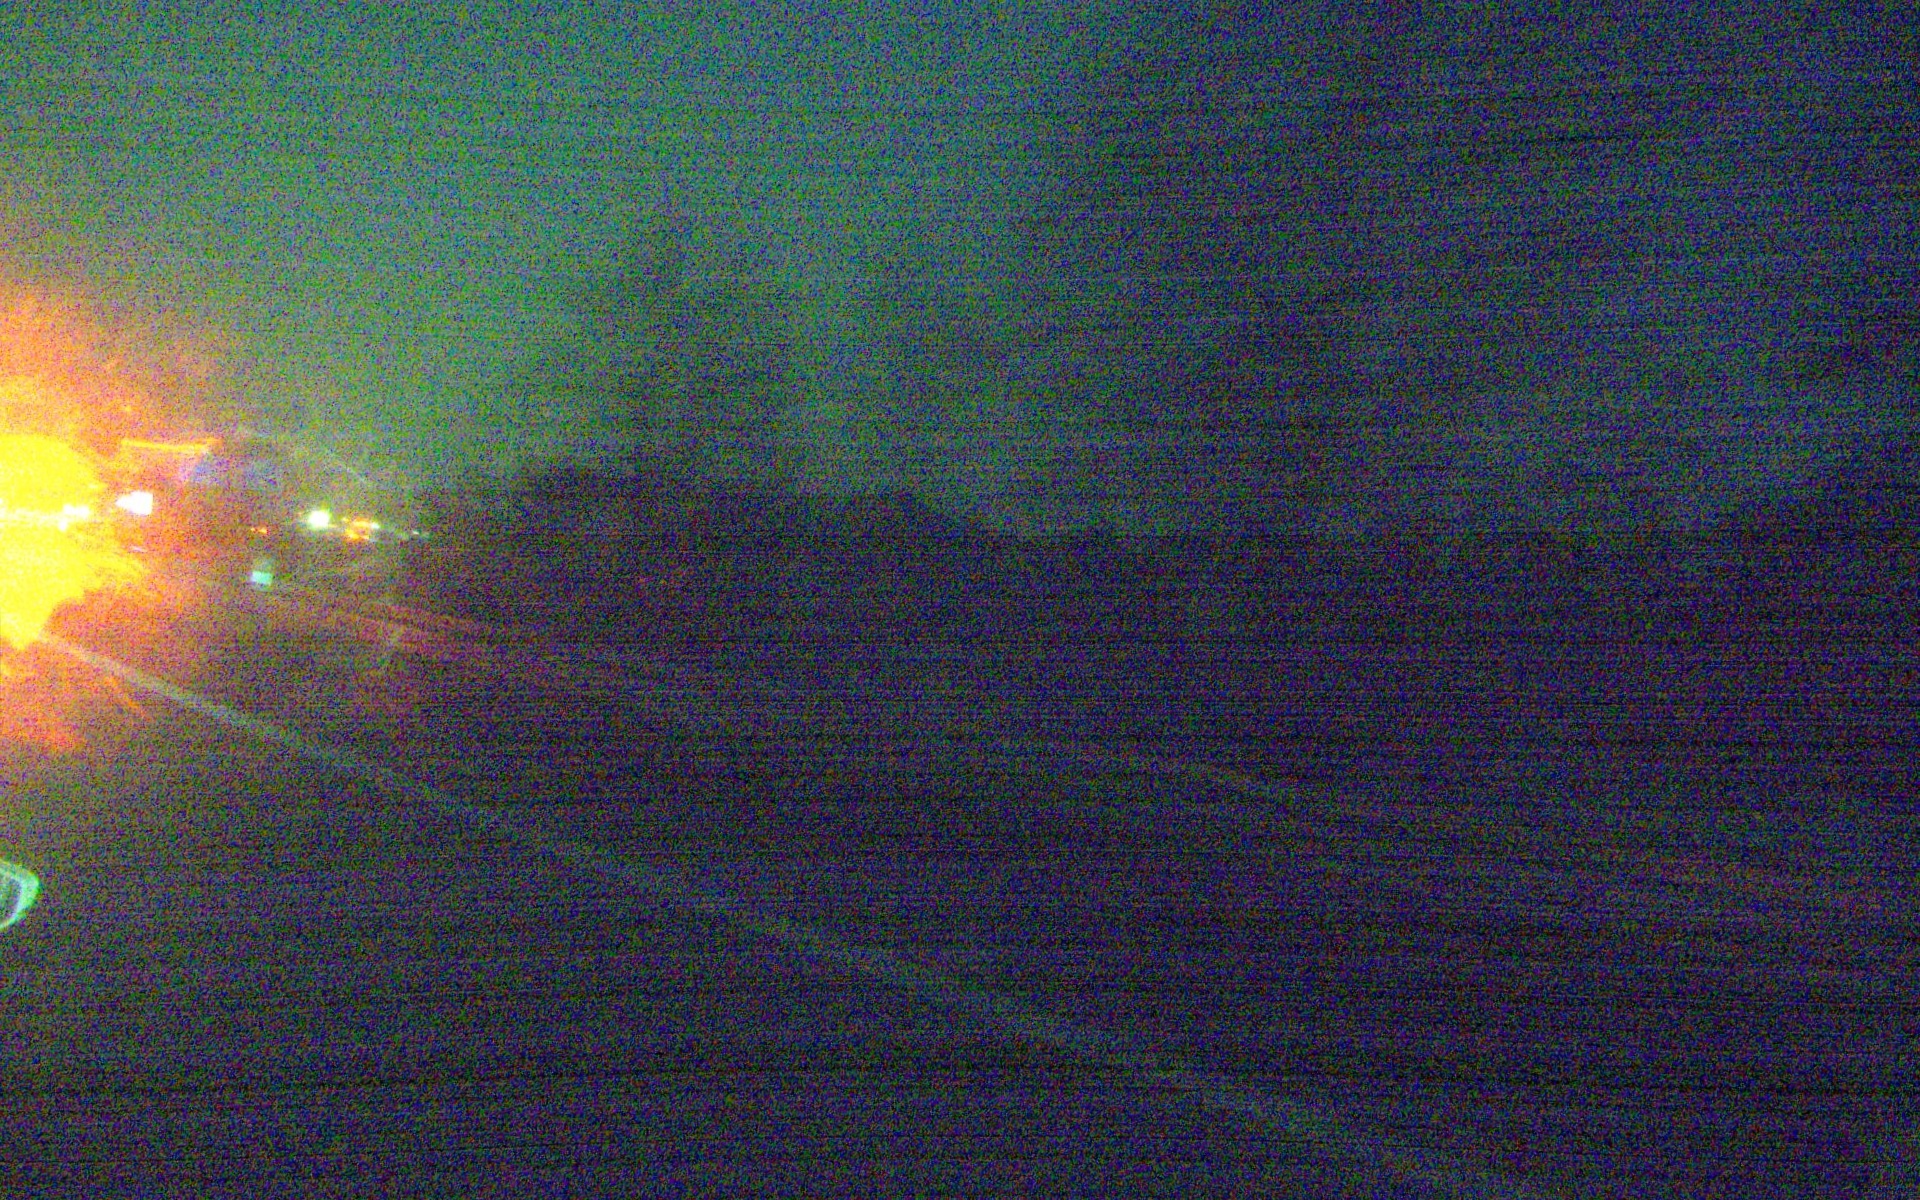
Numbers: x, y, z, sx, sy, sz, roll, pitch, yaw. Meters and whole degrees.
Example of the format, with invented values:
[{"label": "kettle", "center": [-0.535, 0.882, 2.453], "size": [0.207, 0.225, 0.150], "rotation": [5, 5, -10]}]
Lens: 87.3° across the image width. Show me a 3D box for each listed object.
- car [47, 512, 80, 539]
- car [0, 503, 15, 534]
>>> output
[{"label": "car", "center": [-78.078, -6.475, 87.620], "size": [1.889, 2.021, 3.999], "rotation": [8, -2, -41]}, {"label": "car", "center": [-67.677, -5.806, 70.452], "size": [1.890, 2.064, 3.998], "rotation": [9, -2, -42]}]
